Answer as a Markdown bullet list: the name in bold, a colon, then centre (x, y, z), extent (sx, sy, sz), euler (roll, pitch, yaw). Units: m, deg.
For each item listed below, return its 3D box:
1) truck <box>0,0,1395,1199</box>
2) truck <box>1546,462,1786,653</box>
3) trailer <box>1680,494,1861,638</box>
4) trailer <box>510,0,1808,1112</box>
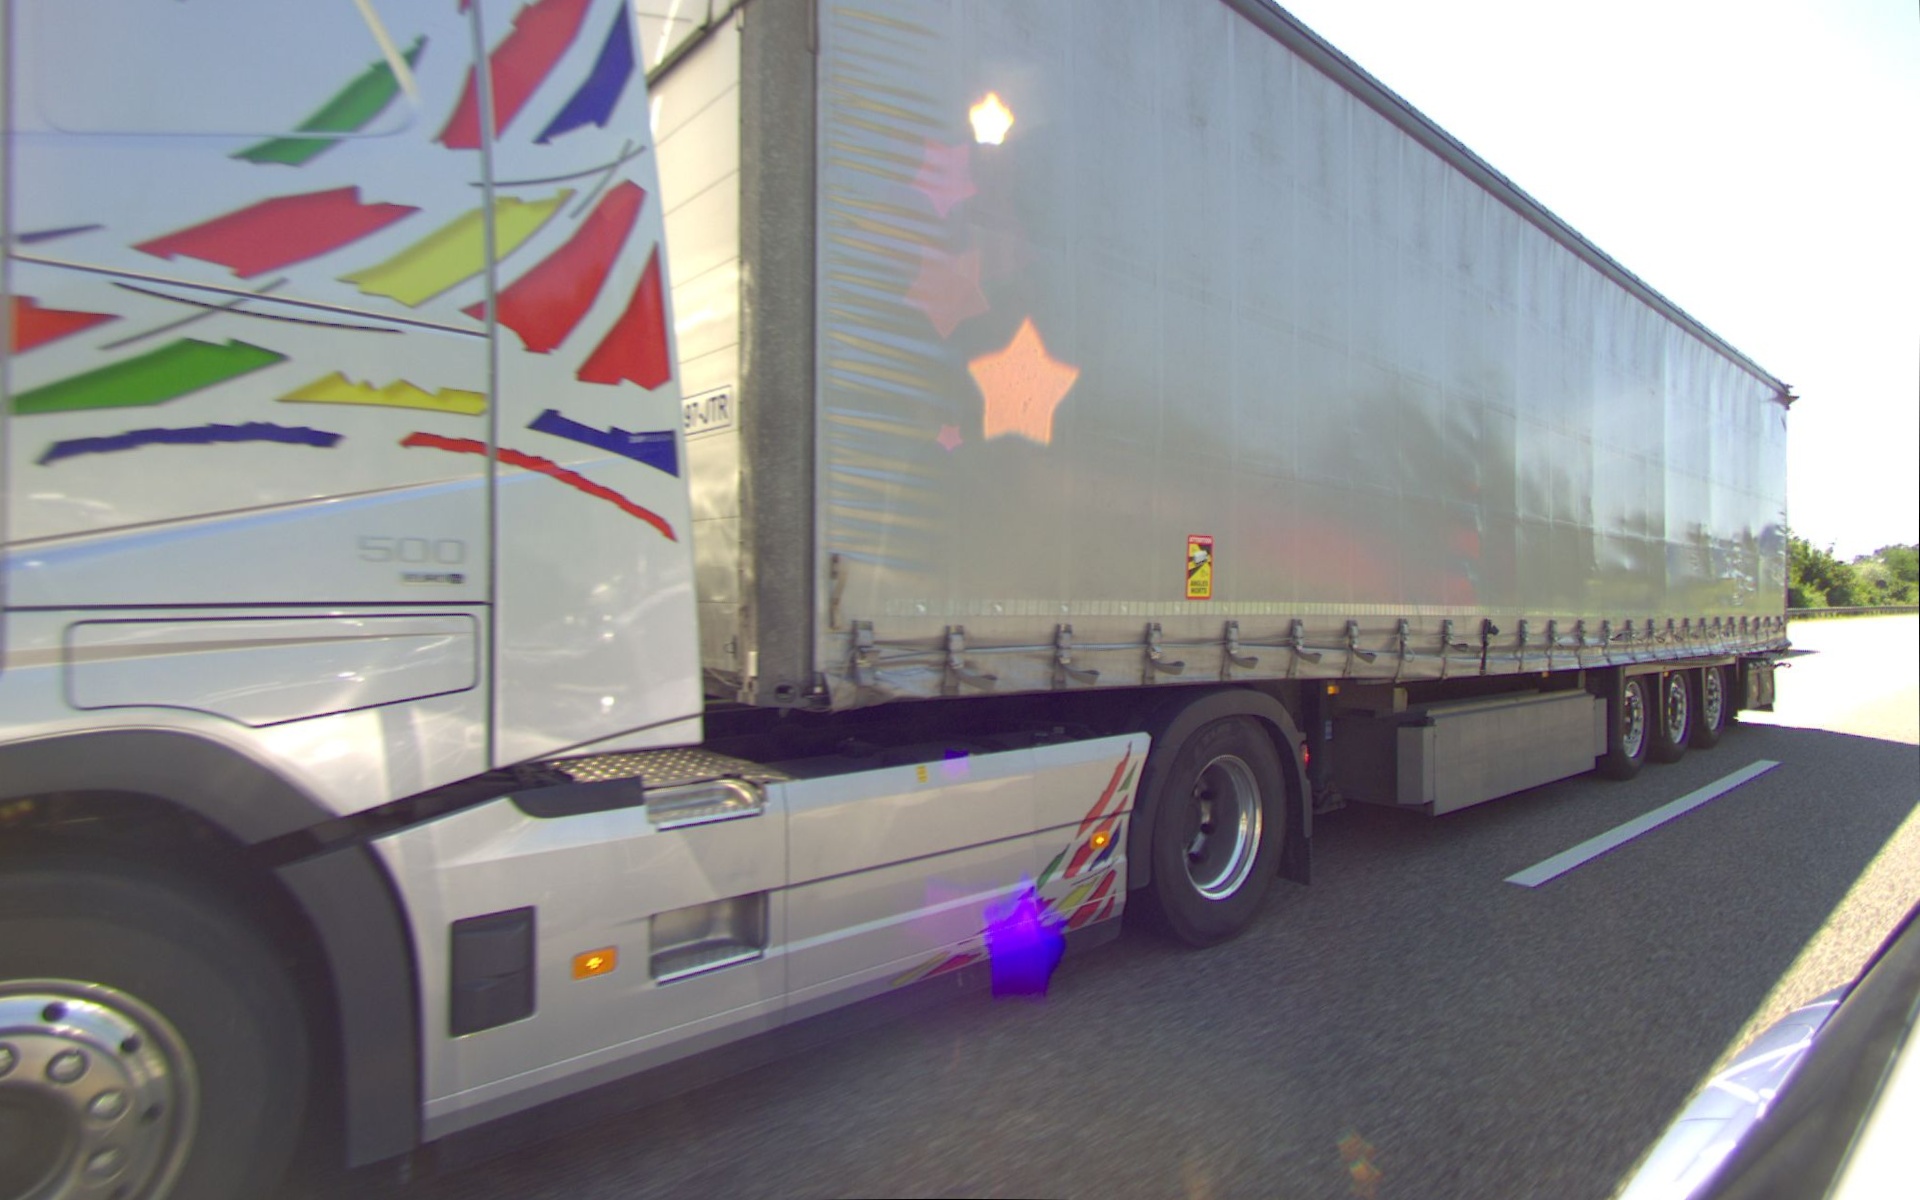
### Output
- **truck**: centre (-1.182, -0.644, 3.826), extent (6.388, 4.025, 2.727), euler (0, 0, -41)
- **truck**: centre (18.756, -0.970, 26.465), extent (10.480, 4.182, 2.531), euler (0, 0, -40)
- **trailer**: centre (26.991, -1.003, 33.427), extent (11.063, 4.111, 2.560), euler (0, 0, -40)
- **trailer**: centre (3.783, -0.689, 8.205), extent (13.417, 4.025, 2.744), euler (0, 0, -41)
